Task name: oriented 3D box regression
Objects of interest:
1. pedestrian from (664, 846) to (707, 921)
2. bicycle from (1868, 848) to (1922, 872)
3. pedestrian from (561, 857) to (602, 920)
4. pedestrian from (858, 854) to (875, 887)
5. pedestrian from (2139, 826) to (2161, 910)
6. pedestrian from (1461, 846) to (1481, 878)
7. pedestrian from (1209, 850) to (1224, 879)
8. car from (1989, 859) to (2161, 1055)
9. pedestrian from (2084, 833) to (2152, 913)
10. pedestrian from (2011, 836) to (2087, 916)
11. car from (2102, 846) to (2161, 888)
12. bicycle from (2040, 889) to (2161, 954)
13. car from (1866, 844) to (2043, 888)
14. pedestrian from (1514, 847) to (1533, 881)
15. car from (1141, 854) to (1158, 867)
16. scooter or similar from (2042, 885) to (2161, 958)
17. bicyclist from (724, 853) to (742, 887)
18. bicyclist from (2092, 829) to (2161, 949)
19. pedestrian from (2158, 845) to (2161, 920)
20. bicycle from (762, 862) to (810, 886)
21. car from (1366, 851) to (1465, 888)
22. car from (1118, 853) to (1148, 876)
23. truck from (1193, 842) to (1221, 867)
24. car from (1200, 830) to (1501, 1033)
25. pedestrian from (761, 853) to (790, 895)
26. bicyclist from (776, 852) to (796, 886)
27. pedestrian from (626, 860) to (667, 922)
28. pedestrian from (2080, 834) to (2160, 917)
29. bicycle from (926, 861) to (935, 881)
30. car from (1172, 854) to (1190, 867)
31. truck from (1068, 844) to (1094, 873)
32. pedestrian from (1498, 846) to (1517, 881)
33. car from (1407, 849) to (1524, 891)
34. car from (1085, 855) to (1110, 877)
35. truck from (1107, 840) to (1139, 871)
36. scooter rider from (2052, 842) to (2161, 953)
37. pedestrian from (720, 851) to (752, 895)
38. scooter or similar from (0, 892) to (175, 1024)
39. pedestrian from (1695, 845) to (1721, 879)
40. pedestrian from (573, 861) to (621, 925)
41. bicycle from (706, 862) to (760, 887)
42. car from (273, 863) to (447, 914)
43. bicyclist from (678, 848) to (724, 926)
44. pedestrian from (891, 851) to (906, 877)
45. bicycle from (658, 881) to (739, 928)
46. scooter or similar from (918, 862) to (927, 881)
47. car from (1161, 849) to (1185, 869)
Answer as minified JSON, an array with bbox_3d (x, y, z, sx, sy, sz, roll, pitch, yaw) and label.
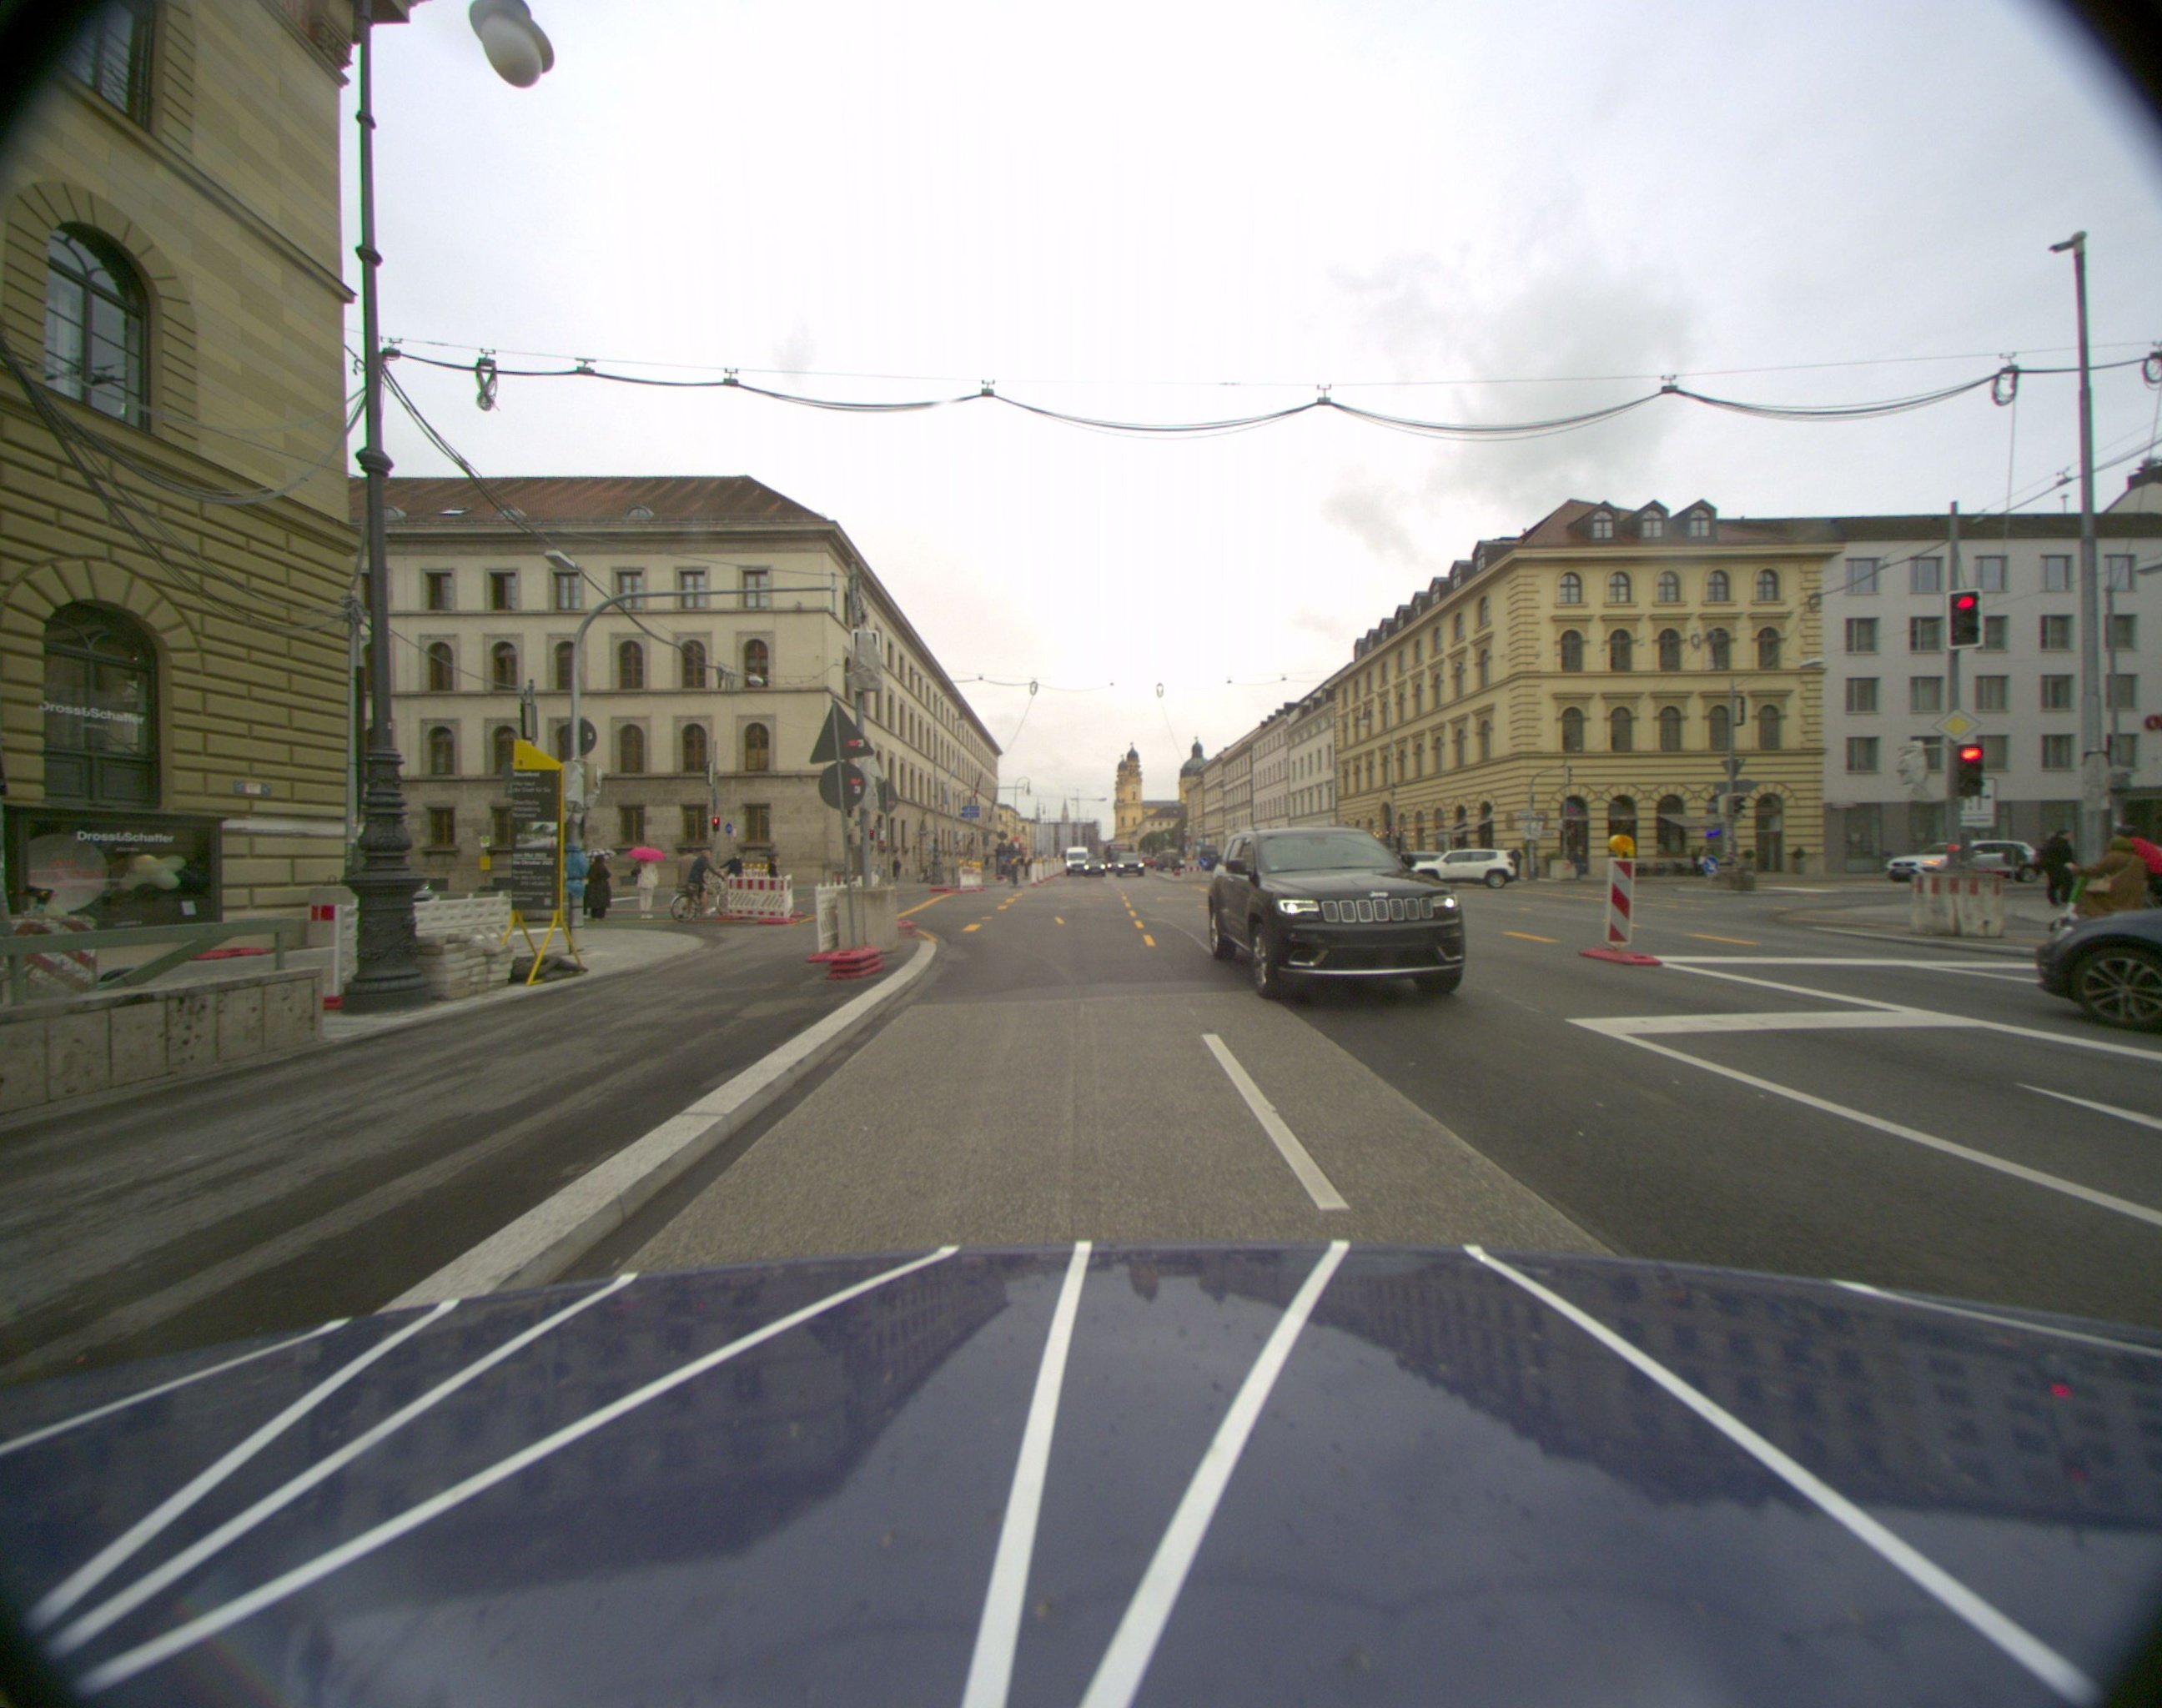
[{"bbox_3d":[-10.163,0.741,19.543,0.640,1.874,0.705,-1,2,5],"label":"pedestrian"},{"bbox_3d":[43.743,0.342,40.846,2.197,1.235,0.600,-1,2,2],"label":"bicycle"},{"bbox_3d":[-13.072,0.896,19.896,0.673,1.611,0.533,-1,2,2],"label":"pedestrian"},{"bbox_3d":[-11.110,0.837,39.419,0.739,1.645,0.725,2,1,-13],"label":"pedestrian"},{"bbox_3d":[23.017,0.280,15.902,0.817,1.746,0.586,0,2,31],"label":"pedestrian"},{"bbox_3d":[21.817,0.414,42.522,0.739,1.762,0.735,-1,2,-10],"label":"pedestrian"},{"bbox_3d":[8.280,0.624,46.497,0.736,1.762,0.739,-1,2,-2],"label":"pedestrian"},{"bbox_3d":[8.603,0.773,4.329,1.748,1.380,4.239,1,1,0],"label":"car"},{"bbox_3d":[23.351,0.415,17.118,0.586,1.746,0.818,-2,2,-30],"label":"pedestrian"},{"bbox_3d":[21.866,0.480,17.181,0.678,1.746,0.821,0,2,16],"label":"pedestrian"},{"bbox_3d":[46.515,0.523,32.075,4.230,1.724,2.000,-1,0,-1],"label":"car"},{"bbox_3d":[16.769,1.066,12.048,0.661,0.874,1.978,-1,1,3],"label":"bicycle"},{"bbox_3d":[32.032,0.423,27.959,4.230,1.515,2.000,-1,0,-1],"label":"car"},{"bbox_3d":[22.885,0.507,39.286,0.737,1.762,0.737,0,2,21],"label":"pedestrian"},{"bbox_3d":[8.990,0.833,100.366,1.822,1.710,4.000,-1,0,0],"label":"car"},{"bbox_3d":[15.628,0.996,11.515,0.587,0.959,1.214,-1,1,1],"label":"scooter or similar"},{"bbox_3d":[-18.495,0.854,40.379,0.689,1.739,0.799,-1,2,-16],"label":"bicyclist"},{"bbox_3d":[16.753,0.527,11.954,0.660,1.832,0.746,-1,2,3],"label":"bicyclist"},{"bbox_3d":[22.241,0.577,15.049,0.819,1.519,0.667,-1,2,3],"label":"pedestrian"},{"bbox_3d":[-15.728,1.046,40.511,2.196,1.235,0.789,-1,2,4],"label":"bicycle"},{"bbox_3d":[15.928,0.735,36.335,4.223,1.667,1.742,-1,0,22],"label":"car"},{"bbox_3d":[3.880,0.779,57.586,1.998,1.674,4.000,-1,0,0],"label":"car"},{"bbox_3d":[13.904,0.070,84.122,2.220,2.647,4.783,-1,0,0],"label":"truck"},{"bbox_3d":[2.678,0.681,8.851,1.999,1.724,4.586,-1,0,2],"label":"car"},{"bbox_3d":[-13.094,0.833,32.617,0.738,1.762,0.847,0,2,15],"label":"pedestrian"},{"bbox_3d":[-15.730,0.793,40.500,0.688,1.766,0.801,-1,2,4],"label":"bicyclist"},{"bbox_3d":[-11.173,0.940,19.562,0.583,1.558,0.705,-1,2,2],"label":"pedestrian"},{"bbox_3d":[22.203,0.443,16.251,0.817,1.746,0.586,0,2,31],"label":"pedestrian"},{"bbox_3d":[-9.736,1.092,49.203,0.381,1.235,1.988,-1,1,-6],"label":"bicycle"},{"bbox_3d":[13.482,0.832,102.554,1.822,1.710,4.000,-1,0,0],"label":"car"},{"bbox_3d":[-0.052,0.386,67.310,2.115,2.466,5.858,-1,0,-1],"label":"truck"},{"bbox_3d":[22.197,0.494,39.548,0.759,1.762,0.737,0,2,21],"label":"pedestrian"},{"bbox_3d":[16.017,0.670,31.900,4.223,1.667,1.802,-1,0,23],"label":"car"},{"bbox_3d":[1.304,0.934,60.876,1.800,1.585,3.998,-1,1,-1],"label":"car"},{"bbox_3d":[4.367,0.076,79.796,2.989,2.996,7.142,-1,1,1],"label":"truck"},{"bbox_3d":[15.640,0.629,11.530,0.592,1.613,0.935,-1,2,2],"label":"scooter rider"},{"bbox_3d":[-13.898,0.739,30.587,1.043,1.733,0.513,-1,1,-10],"label":"pedestrian"},{"bbox_3d":[-10.671,1.075,8.186,0.350,1.243,1.140,-1,1,3],"label":"scooter or similar"},{"bbox_3d":[32.407,0.412,39.257,0.735,1.762,0.739,-1,2,4],"label":"pedestrian"},{"bbox_3d":[-12.078,0.961,18.974,0.681,1.558,0.705,-1,2,2],"label":"pedestrian"},{"bbox_3d":[-18.474,1.082,40.396,2.450,1.235,0.788,-1,2,-16],"label":"bicycle"},{"bbox_3d":[-23.319,1.105,24.680,3.997,1.495,1.634,-1,1,-1],"label":"car"},{"bbox_3d":[-9.369,0.791,18.747,0.566,1.843,0.801,1,2,42],"label":"bicyclist"},{"bbox_3d":[-11.838,0.664,49.278,0.738,1.645,0.726,2,1,2],"label":"pedestrian"},{"bbox_3d":[-9.403,1.211,18.715,0.585,1.006,1.660,1,2,42],"label":"bicycle"},{"bbox_3d":[-10.266,1.117,49.225,0.381,1.138,1.988,-1,1,-6],"label":"scooter or similar"},{"bbox_3d":[9.429,0.513,78.055,2.243,2.002,4.451,-1,0,4],"label":"car"}]
